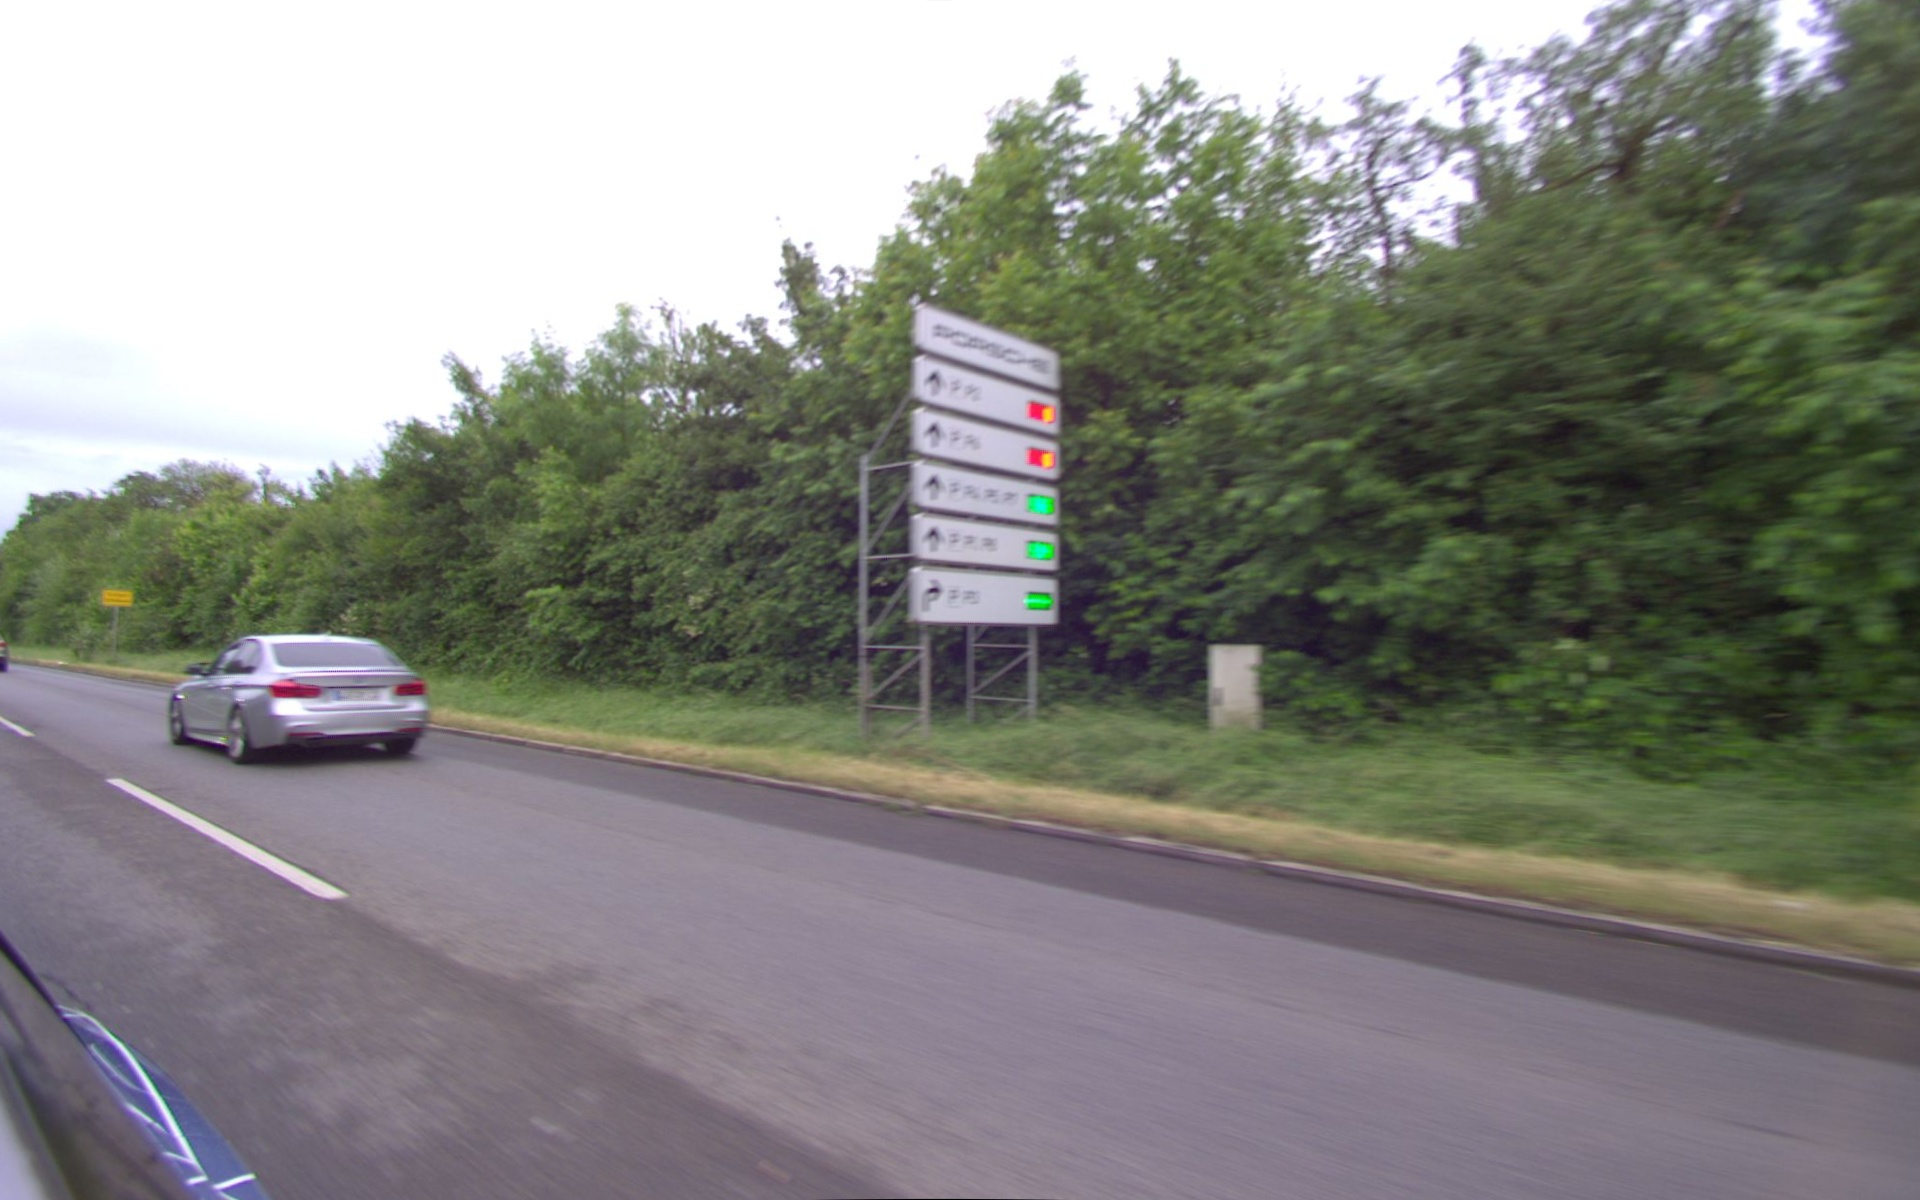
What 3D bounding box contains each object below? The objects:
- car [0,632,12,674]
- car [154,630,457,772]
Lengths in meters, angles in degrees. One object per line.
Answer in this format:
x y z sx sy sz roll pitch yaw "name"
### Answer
-34.602 1.827 35.300 4.318 1.431 1.806 -2 -3 41 "car"
-7.956 1.065 12.138 4.379 1.365 1.872 -1 -2 40 "car"
